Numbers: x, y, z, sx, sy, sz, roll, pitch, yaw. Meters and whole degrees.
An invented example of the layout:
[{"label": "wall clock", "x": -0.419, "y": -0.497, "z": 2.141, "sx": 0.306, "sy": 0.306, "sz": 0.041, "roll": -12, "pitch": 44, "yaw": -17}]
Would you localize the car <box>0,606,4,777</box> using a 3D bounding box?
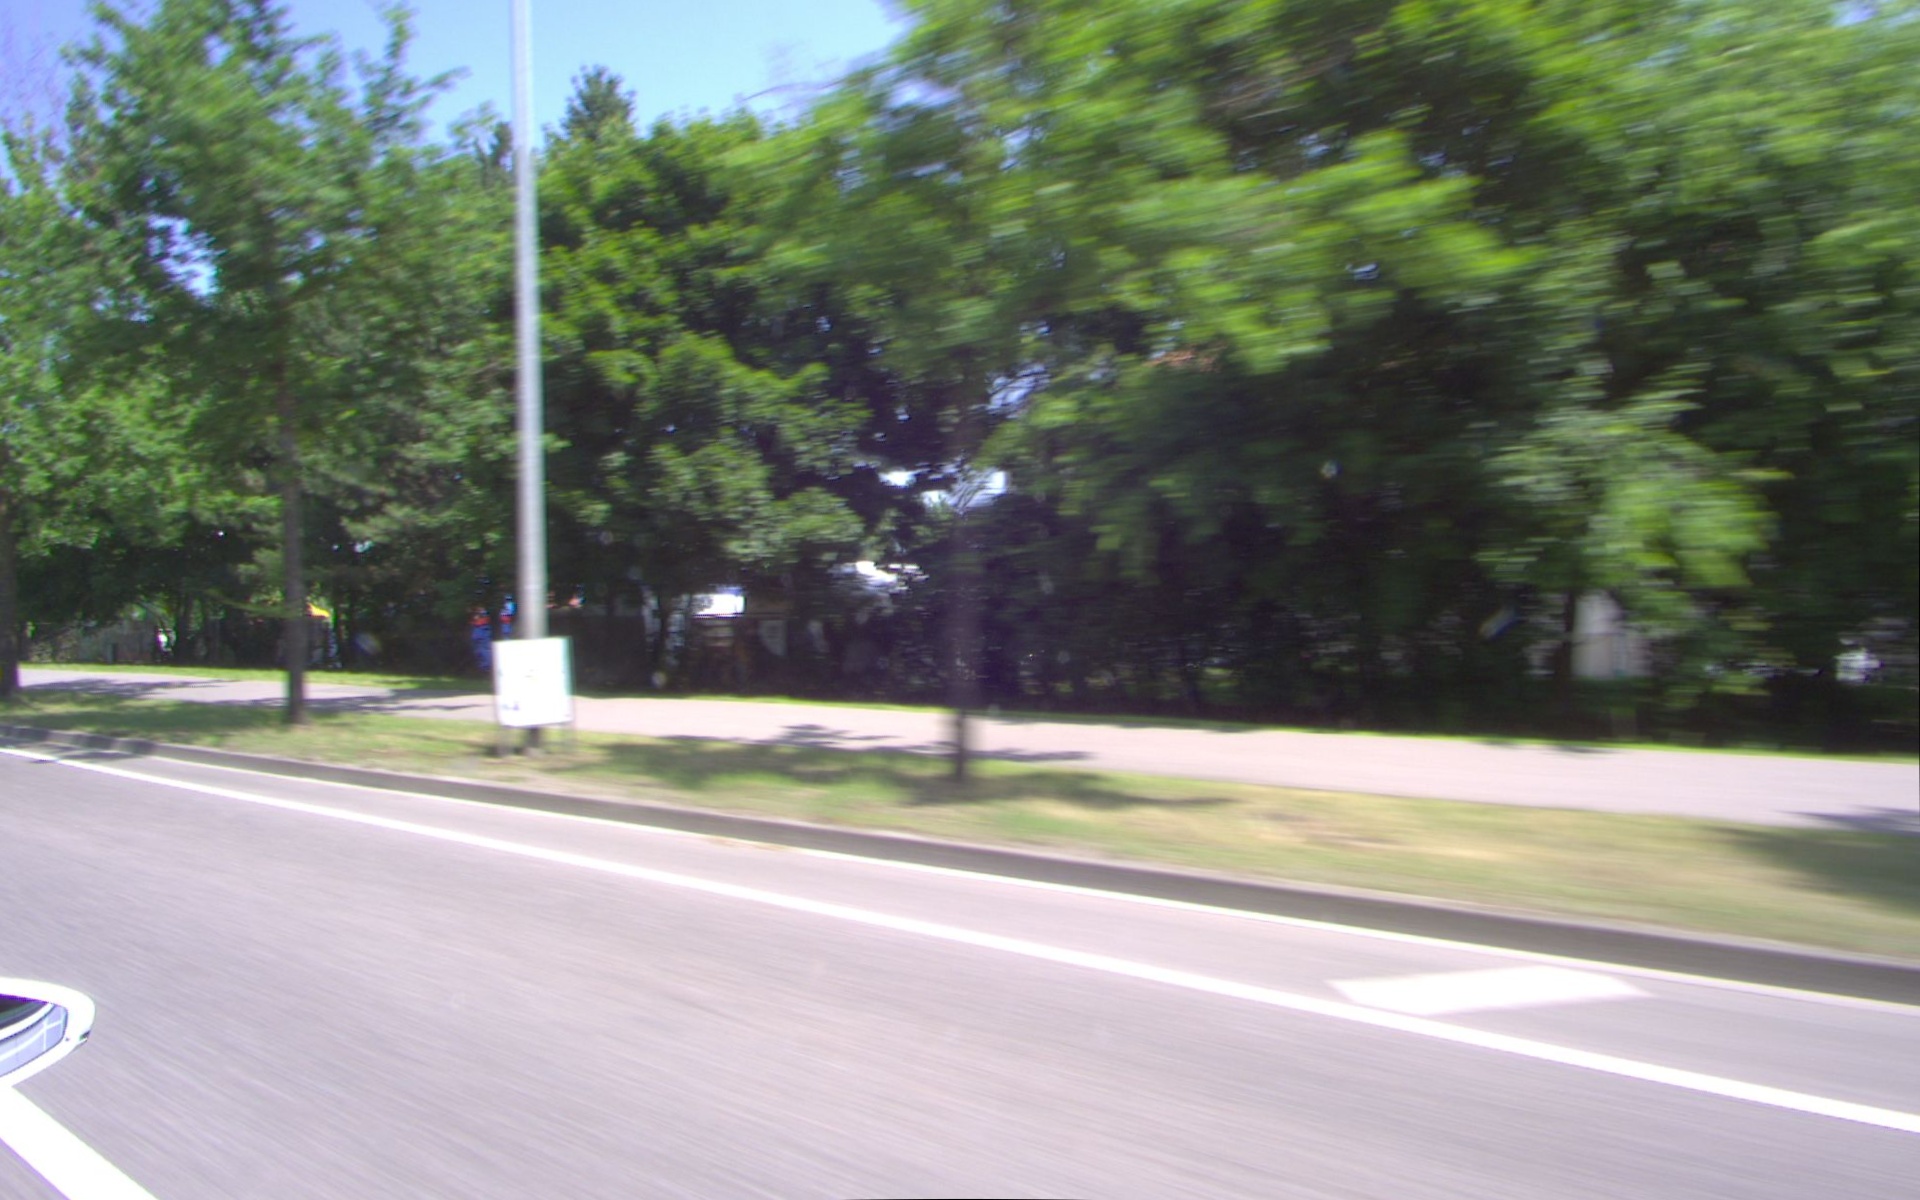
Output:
[{"label": "car", "x": -11.223, "y": 0.876, "z": 9.820, "sx": 3.835, "sy": 1.632, "sz": 1.789, "roll": -1, "pitch": -1, "yaw": 32}]
